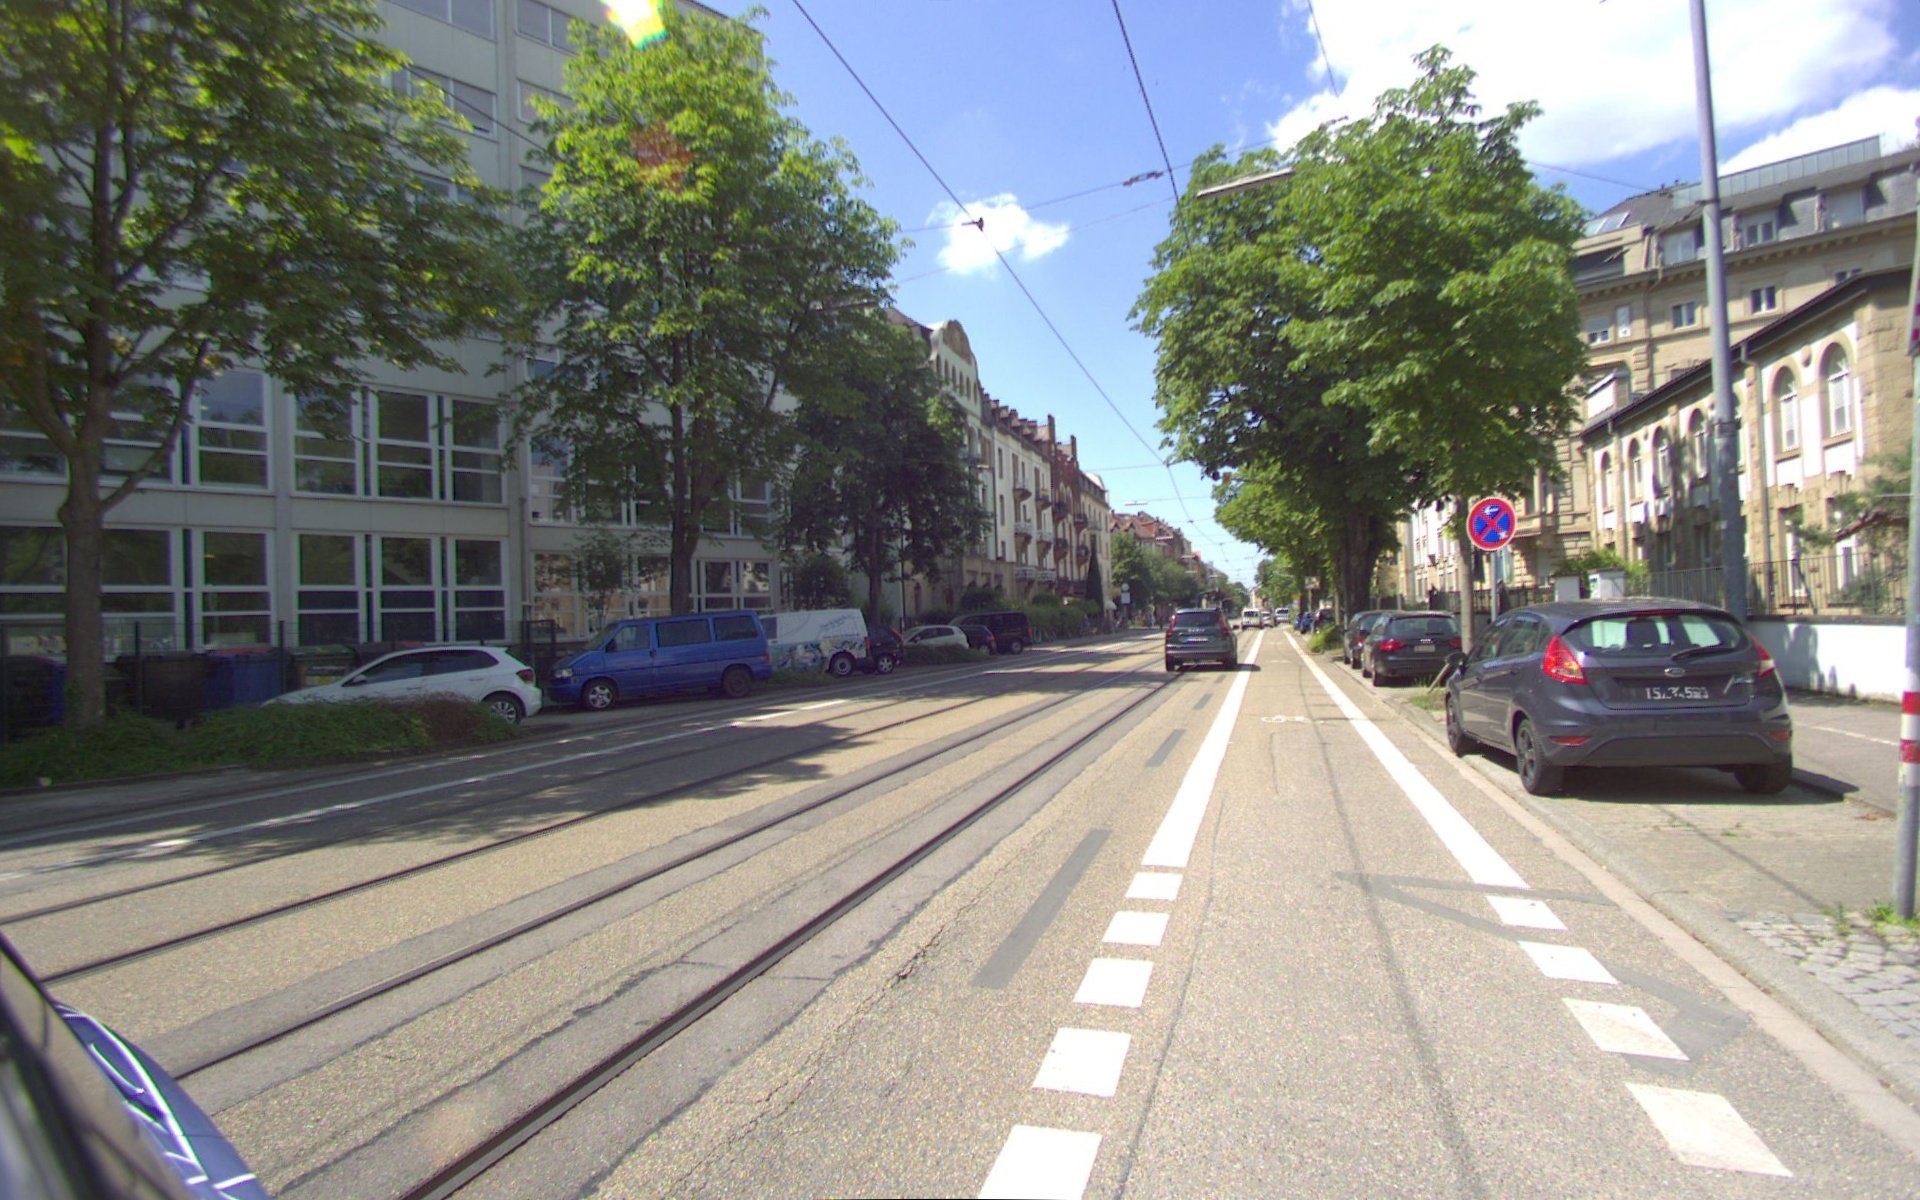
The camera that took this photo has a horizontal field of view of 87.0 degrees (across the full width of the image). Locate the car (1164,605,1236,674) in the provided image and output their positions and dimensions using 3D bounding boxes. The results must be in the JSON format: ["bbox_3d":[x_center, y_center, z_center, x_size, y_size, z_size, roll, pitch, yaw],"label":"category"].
[{"bbox_3d":[6.485,1.035,27.074,1.593,1.664,3.977,-2,-2,17],"label":"car"}]

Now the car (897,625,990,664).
[{"bbox_3d":[-0.700,1.936,44.411,3.944,1.519,1.948,-3,-2,0],"label":"car"}]

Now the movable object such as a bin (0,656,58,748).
[{"bbox_3d":[-15.383,1.658,16.500,0.764,1.416,0.795,-4,-2,31],"label":"movable object such as a bin"}]

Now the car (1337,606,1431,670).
[{"bbox_3d":[10.981,0.947,26.450,1.937,1.454,3.749,-4,-2,19],"label":"car"}]

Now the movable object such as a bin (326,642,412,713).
[{"bbox_3d":[-12.544,1.637,21.510,1.032,1.409,1.172,-4,-2,25],"label":"movable object such as a bin"}]

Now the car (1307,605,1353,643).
[{"bbox_3d":[17.433,1.091,47.549,1.719,1.626,3.968,-4,-2,23],"label":"car"}]

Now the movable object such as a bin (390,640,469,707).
[{"bbox_3d":[-12.015,1.646,22.936,1.032,1.409,1.172,-4,-2,25],"label":"movable object such as a bin"}]

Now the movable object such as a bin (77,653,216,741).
[{"bbox_3d":[-13.775,1.623,17.178,1.117,1.340,1.443,-4,-2,19],"label":"movable object such as a bin"}]

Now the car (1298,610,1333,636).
[{"bbox_3d":[23.112,1.481,65.794,1.801,1.490,3.969,-4,-2,23],"label":"car"}]

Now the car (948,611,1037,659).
[{"bbox_3d":[1.476,1.627,47.150,3.944,2.029,1.999,-3,-2,0],"label":"car"}]

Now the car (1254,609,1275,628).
[{"bbox_3d":[29.756,1.826,98.835,1.749,1.732,3.976,-3,-2,18],"label":"car"}]

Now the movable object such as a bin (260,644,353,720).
[{"bbox_3d":[-13.030,1.629,20.187,1.032,1.409,1.172,-4,-2,25],"label":"movable object such as a bin"}]

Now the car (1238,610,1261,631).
[{"bbox_3d":[25.379,1.797,88.641,1.664,1.732,3.976,-3,-2,18],"label":"car"}]

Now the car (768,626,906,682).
[{"bbox_3d":[-3.824,1.642,31.342,3.932,1.497,1.675,-2,-2,-17],"label":"car"}]

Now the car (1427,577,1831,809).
[{"bbox_3d":[5.315,0.684,8.658,1.573,1.467,3.709,-5,-2,14],"label":"car"}]

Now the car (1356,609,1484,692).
[{"bbox_3d":[9.082,0.944,20.304,1.870,1.429,4.124,-4,-2,19],"label":"car"}]

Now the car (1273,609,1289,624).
[{"bbox_3d":[39.336,1.973,124.035,1.749,1.732,3.976,-3,-2,18],"label":"car"}]

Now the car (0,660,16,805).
[{"bbox_3d":[-11.125,1.381,9.123,3.479,1.473,1.759,-2,-2,-29],"label":"car"}]

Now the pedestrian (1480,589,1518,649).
[{"bbox_3d":[14.778,0.518,27.775,0.691,1.579,0.740,-3,-2,16],"label":"pedestrian"}]

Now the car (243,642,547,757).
[{"bbox_3d":[-8.698,1.466,15.834,3.913,1.424,1.720,-2,-2,-29],"label":"car"}]

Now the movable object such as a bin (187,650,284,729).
[{"bbox_3d":[-13.369,1.641,18.693,0.963,1.340,1.070,-4,-2,19],"label":"movable object such as a bin"}]

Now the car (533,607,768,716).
[{"bbox_3d":[-6.747,1.279,22.121,4.551,2.029,2.006,-2,-2,-28],"label":"car"}]

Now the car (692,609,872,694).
[{"bbox_3d":[-4.937,1.388,28.023,4.551,2.029,2.006,-2,-2,-20],"label":"car"}]

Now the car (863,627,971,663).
[{"bbox_3d":[-1.716,1.781,40.685,3.931,1.397,1.756,1,-1,-29],"label":"car"}]
